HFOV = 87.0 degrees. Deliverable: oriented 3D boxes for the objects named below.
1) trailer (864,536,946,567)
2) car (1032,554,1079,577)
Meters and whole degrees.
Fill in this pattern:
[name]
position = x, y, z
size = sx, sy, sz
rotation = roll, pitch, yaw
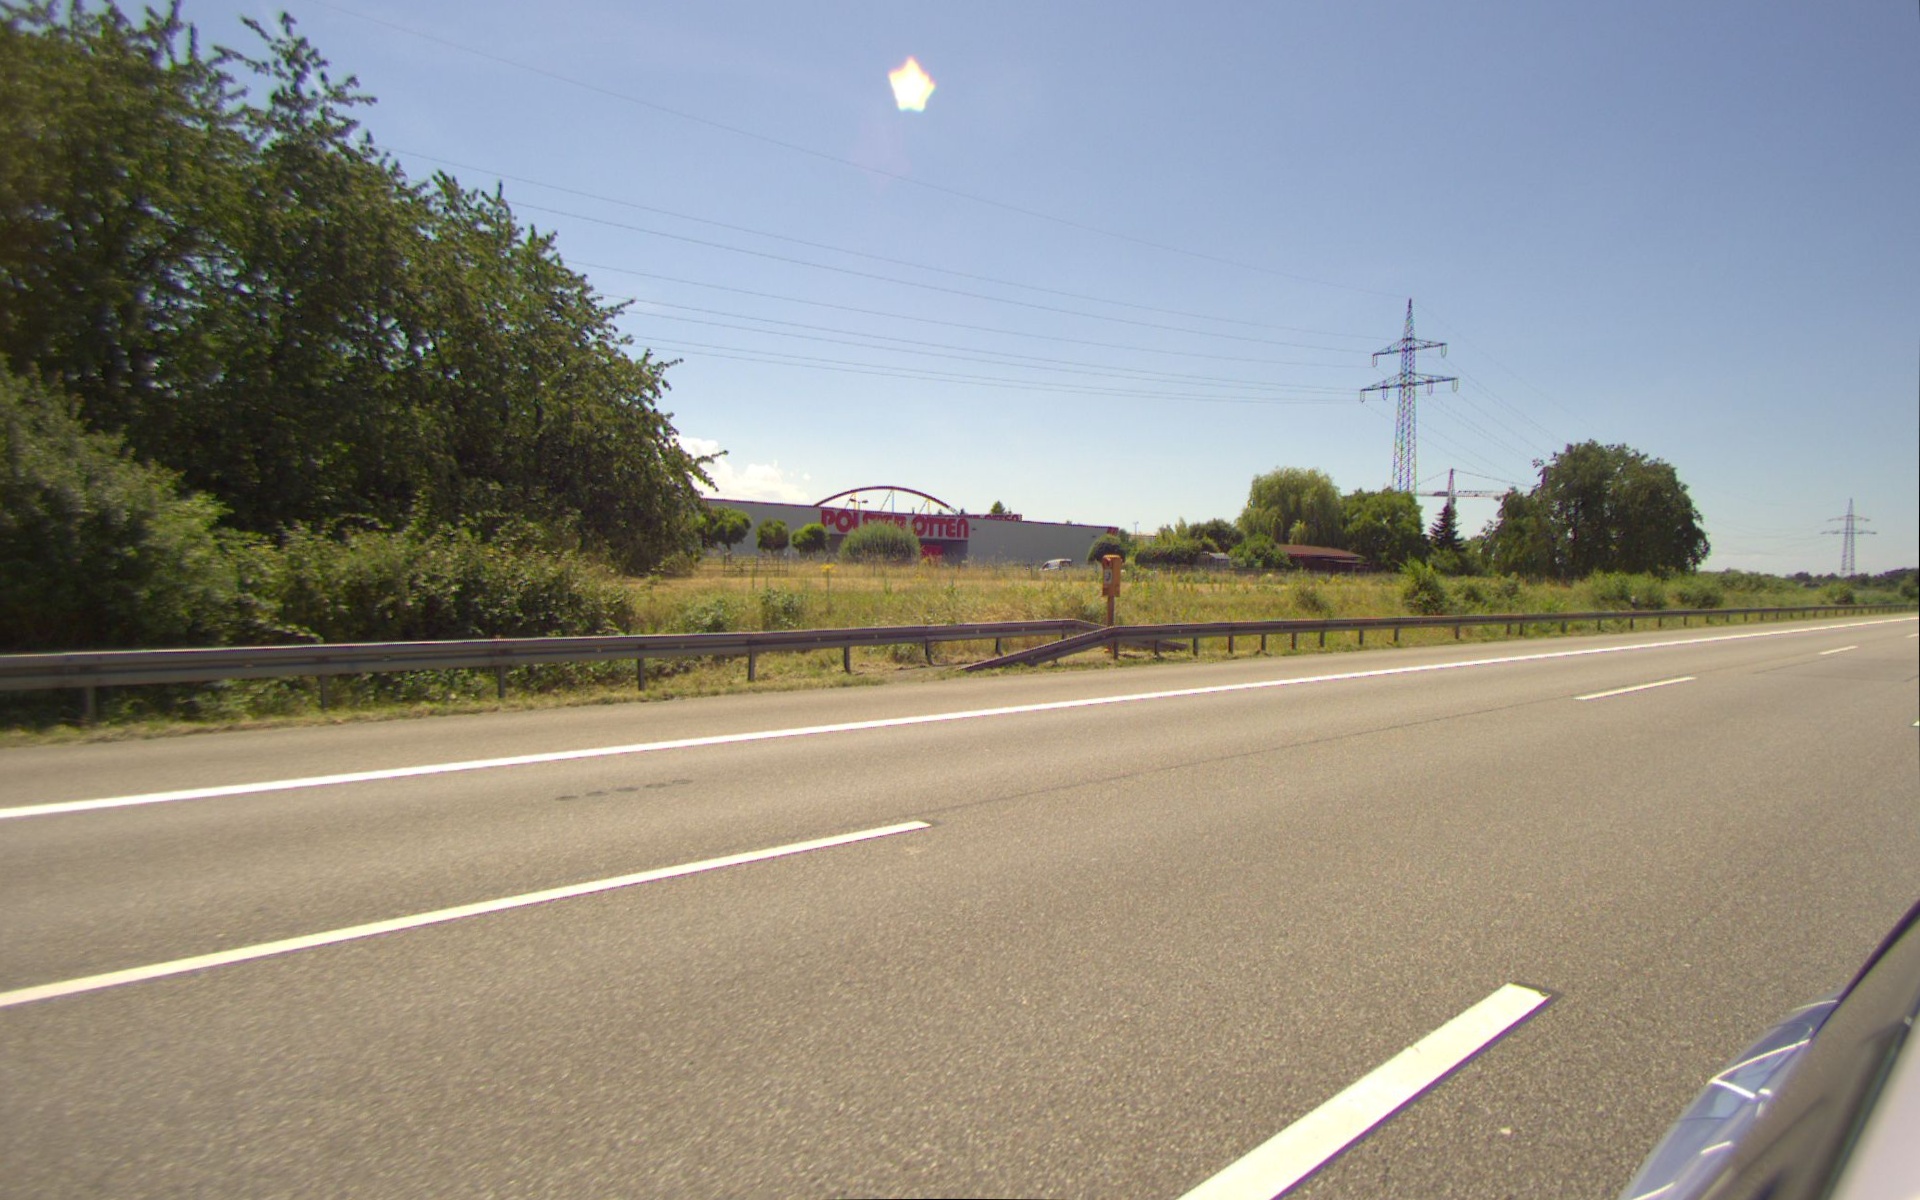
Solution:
[trailer]
position = -4.810, -4.179, 86.791
size = 2.927, 2.410, 7.927
rotation = 0, 3, -39
[car]
position = 8.739, -3.142, 92.954
size = 1.967, 2.039, 3.990
rotation = 0, 0, -44
